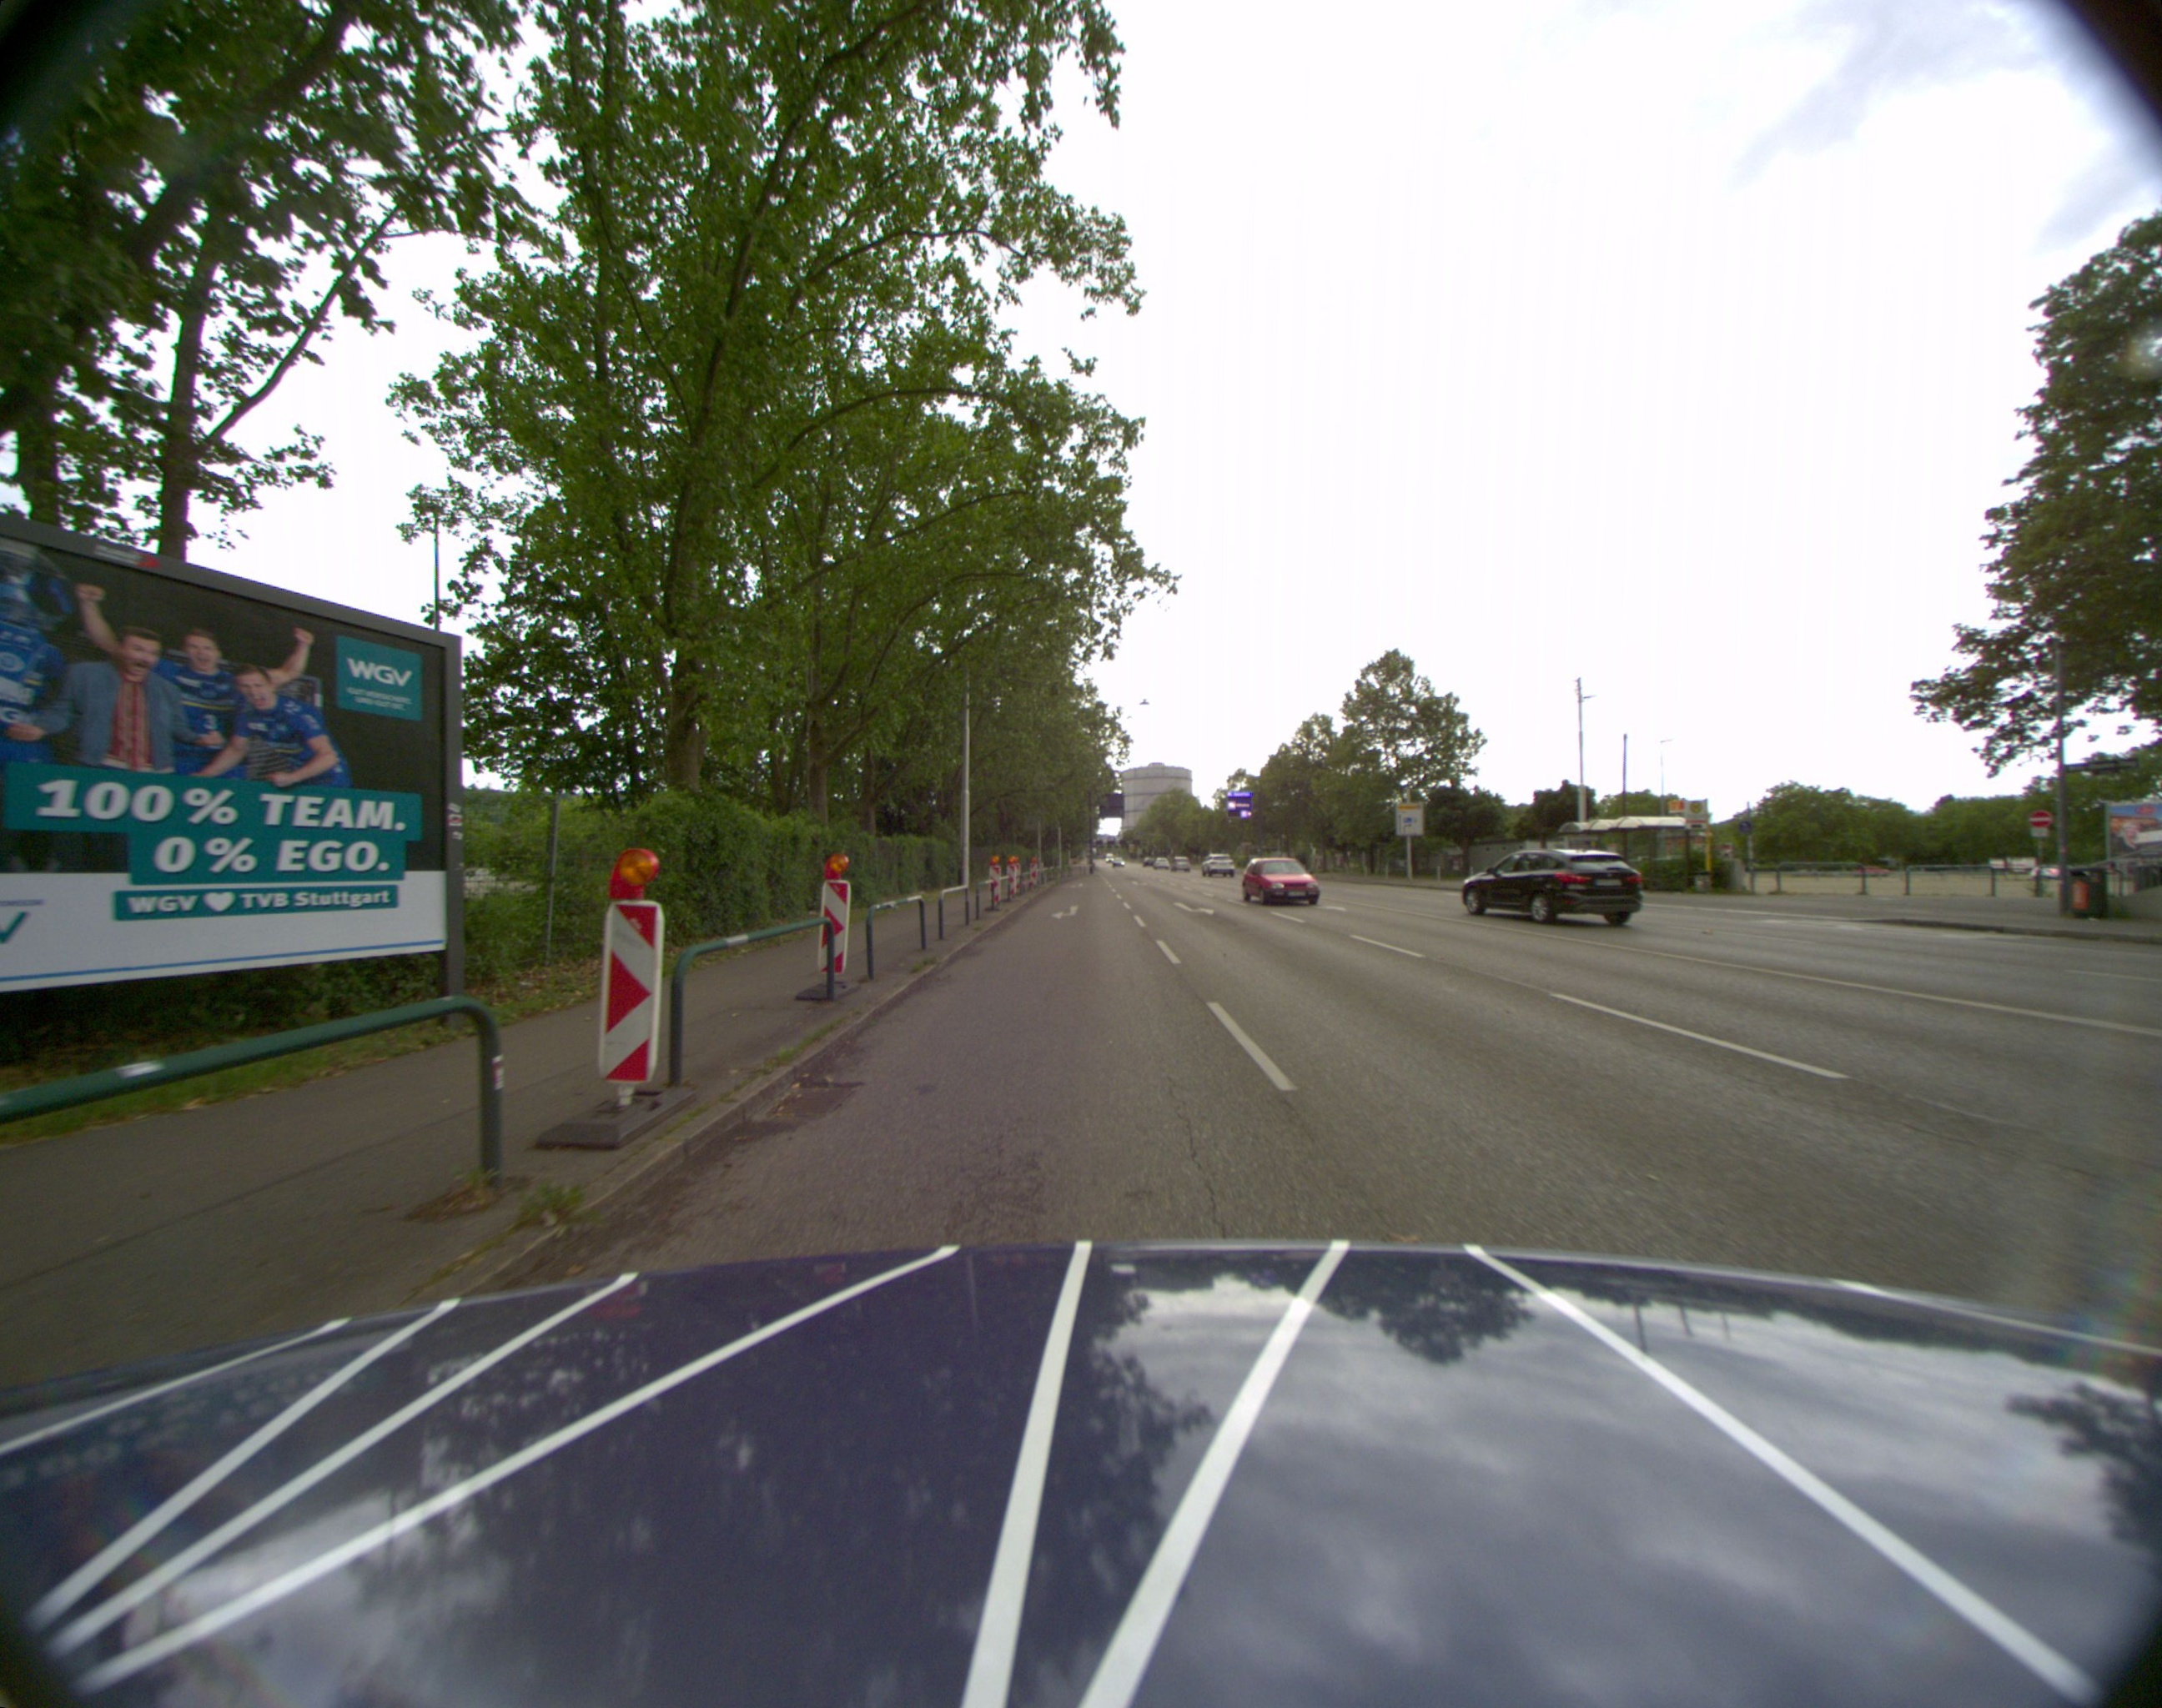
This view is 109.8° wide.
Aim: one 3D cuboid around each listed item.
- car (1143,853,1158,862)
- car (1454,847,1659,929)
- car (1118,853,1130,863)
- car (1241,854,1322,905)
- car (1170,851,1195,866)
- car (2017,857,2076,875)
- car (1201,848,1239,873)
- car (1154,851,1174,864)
[{"bbox_3d":[11.321,0.539,124.329,1.999,1.521,4.725,0,0,-1],"label":"car"},{"bbox_3d":[10.441,0.676,17.163,1.774,1.596,4.427,1,0,-1],"label":"car"},{"bbox_3d":[6.818,0.612,121.327,1.799,1.501,4.000,0,0,1],"label":"car"},{"bbox_3d":[6.213,0.745,23.992,1.832,1.443,4.078,-1,0,6],"label":"car"},{"bbox_3d":[10.664,0.457,80.168,1.999,1.516,3.999,0,0,-1],"label":"car"},{"bbox_3d":[100.258,1.263,78.958,3.986,1.693,1.999,-2,0,-7],"label":"car"},{"bbox_3d":[10.355,0.451,56.890,1.999,1.735,4.593,0,2,0],"label":"car"},{"bbox_3d":[10.566,0.427,96.975,1.998,1.521,4.385,0,0,0],"label":"car"}]
